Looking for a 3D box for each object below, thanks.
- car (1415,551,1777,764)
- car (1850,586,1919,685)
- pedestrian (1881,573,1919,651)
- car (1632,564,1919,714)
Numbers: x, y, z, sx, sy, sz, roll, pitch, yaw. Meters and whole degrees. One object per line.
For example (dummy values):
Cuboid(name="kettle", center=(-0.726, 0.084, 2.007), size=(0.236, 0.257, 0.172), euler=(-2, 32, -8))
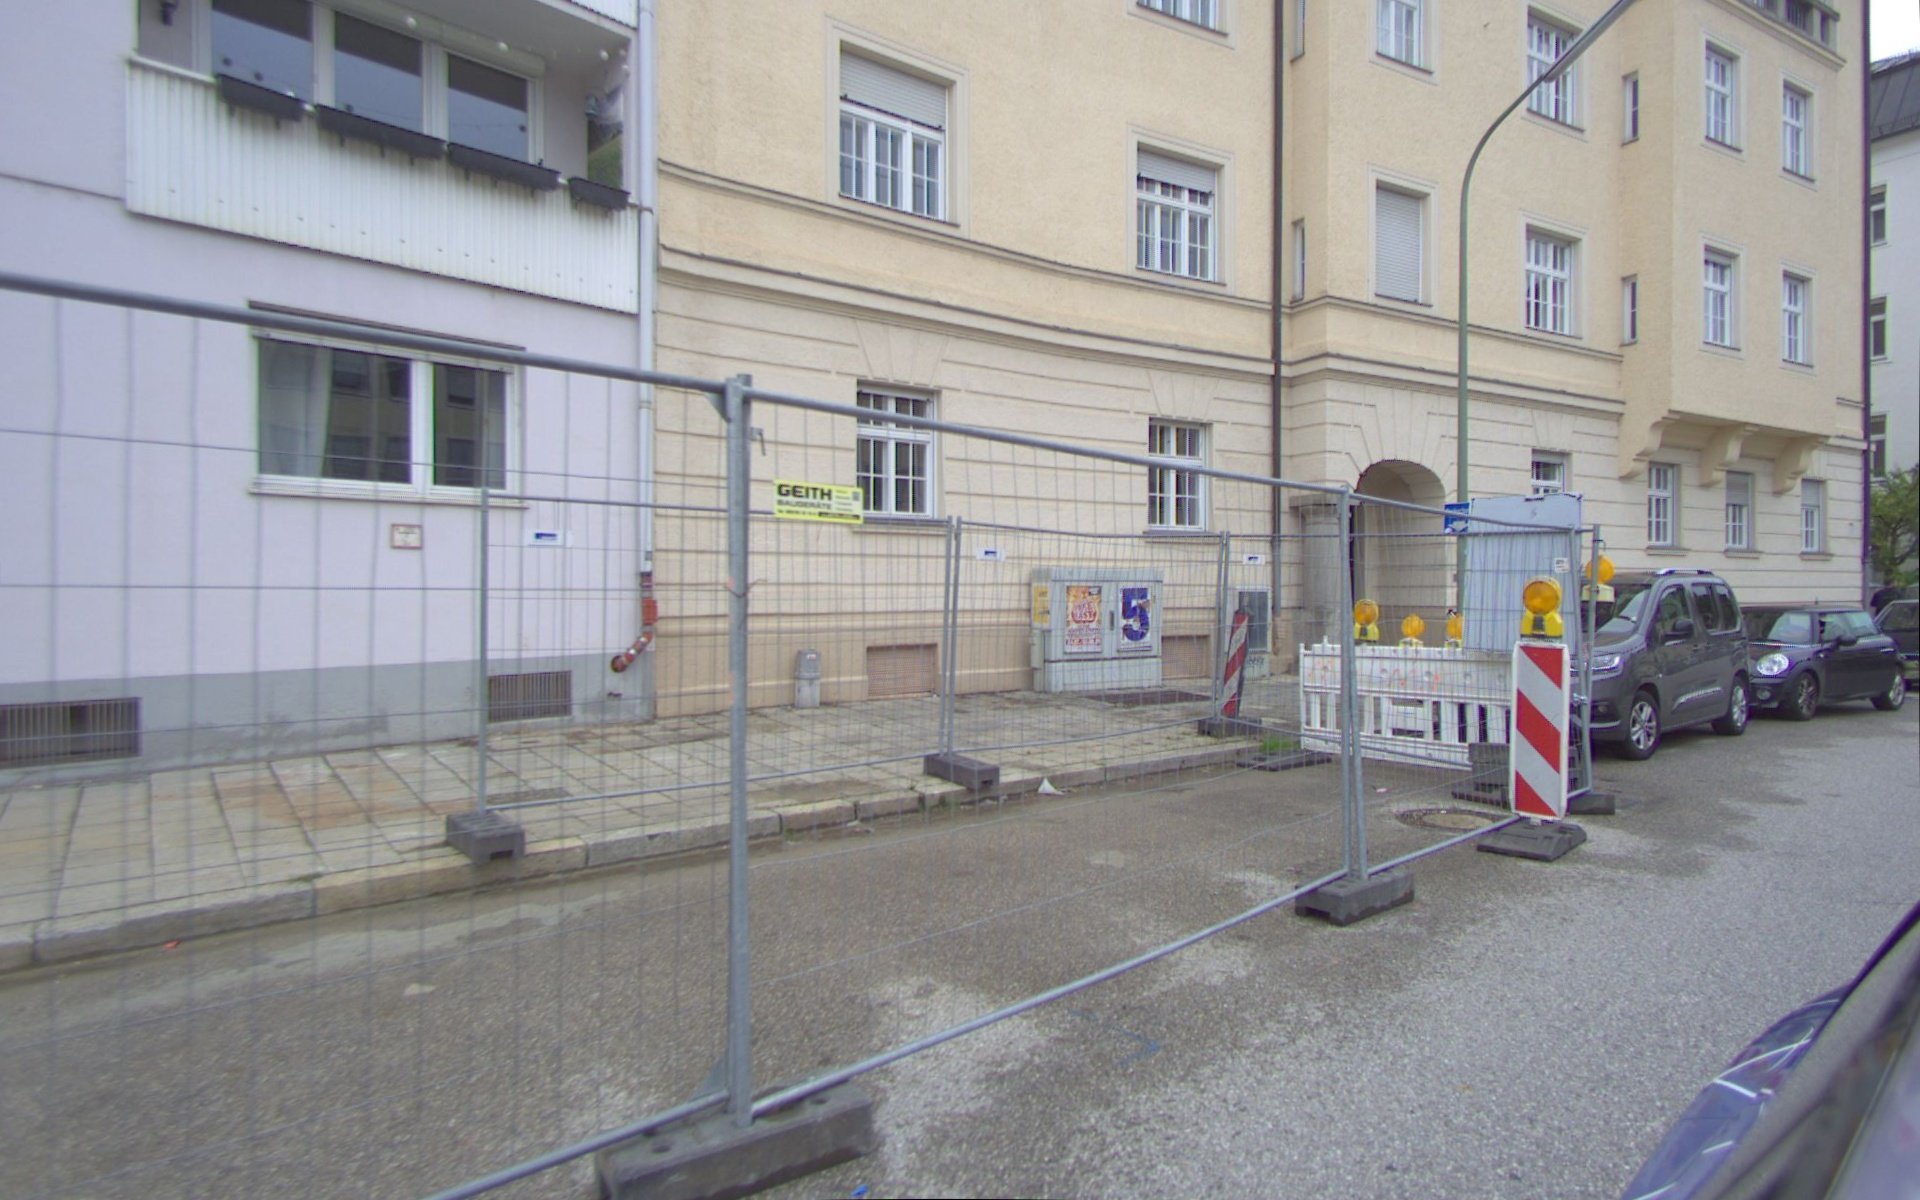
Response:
Cuboid(name="car", center=(6.792, 0.482, 10.661), size=(4.160, 1.822, 1.841), euler=(-1, -1, -37))
Cuboid(name="car", center=(16.485, 0.535, 16.856), size=(2.804, 1.577, 1.514), euler=(-1, -1, -27))
Cuboid(name="pedestrian", center=(22.243, 0.278, 23.680), size=(0.681, 1.783, 0.685), euler=(-1, -1, 3))
Cuboid(name="car", center=(11.020, 0.444, 13.543), size=(3.655, 1.752, 1.844), euler=(-1, -1, -29))
